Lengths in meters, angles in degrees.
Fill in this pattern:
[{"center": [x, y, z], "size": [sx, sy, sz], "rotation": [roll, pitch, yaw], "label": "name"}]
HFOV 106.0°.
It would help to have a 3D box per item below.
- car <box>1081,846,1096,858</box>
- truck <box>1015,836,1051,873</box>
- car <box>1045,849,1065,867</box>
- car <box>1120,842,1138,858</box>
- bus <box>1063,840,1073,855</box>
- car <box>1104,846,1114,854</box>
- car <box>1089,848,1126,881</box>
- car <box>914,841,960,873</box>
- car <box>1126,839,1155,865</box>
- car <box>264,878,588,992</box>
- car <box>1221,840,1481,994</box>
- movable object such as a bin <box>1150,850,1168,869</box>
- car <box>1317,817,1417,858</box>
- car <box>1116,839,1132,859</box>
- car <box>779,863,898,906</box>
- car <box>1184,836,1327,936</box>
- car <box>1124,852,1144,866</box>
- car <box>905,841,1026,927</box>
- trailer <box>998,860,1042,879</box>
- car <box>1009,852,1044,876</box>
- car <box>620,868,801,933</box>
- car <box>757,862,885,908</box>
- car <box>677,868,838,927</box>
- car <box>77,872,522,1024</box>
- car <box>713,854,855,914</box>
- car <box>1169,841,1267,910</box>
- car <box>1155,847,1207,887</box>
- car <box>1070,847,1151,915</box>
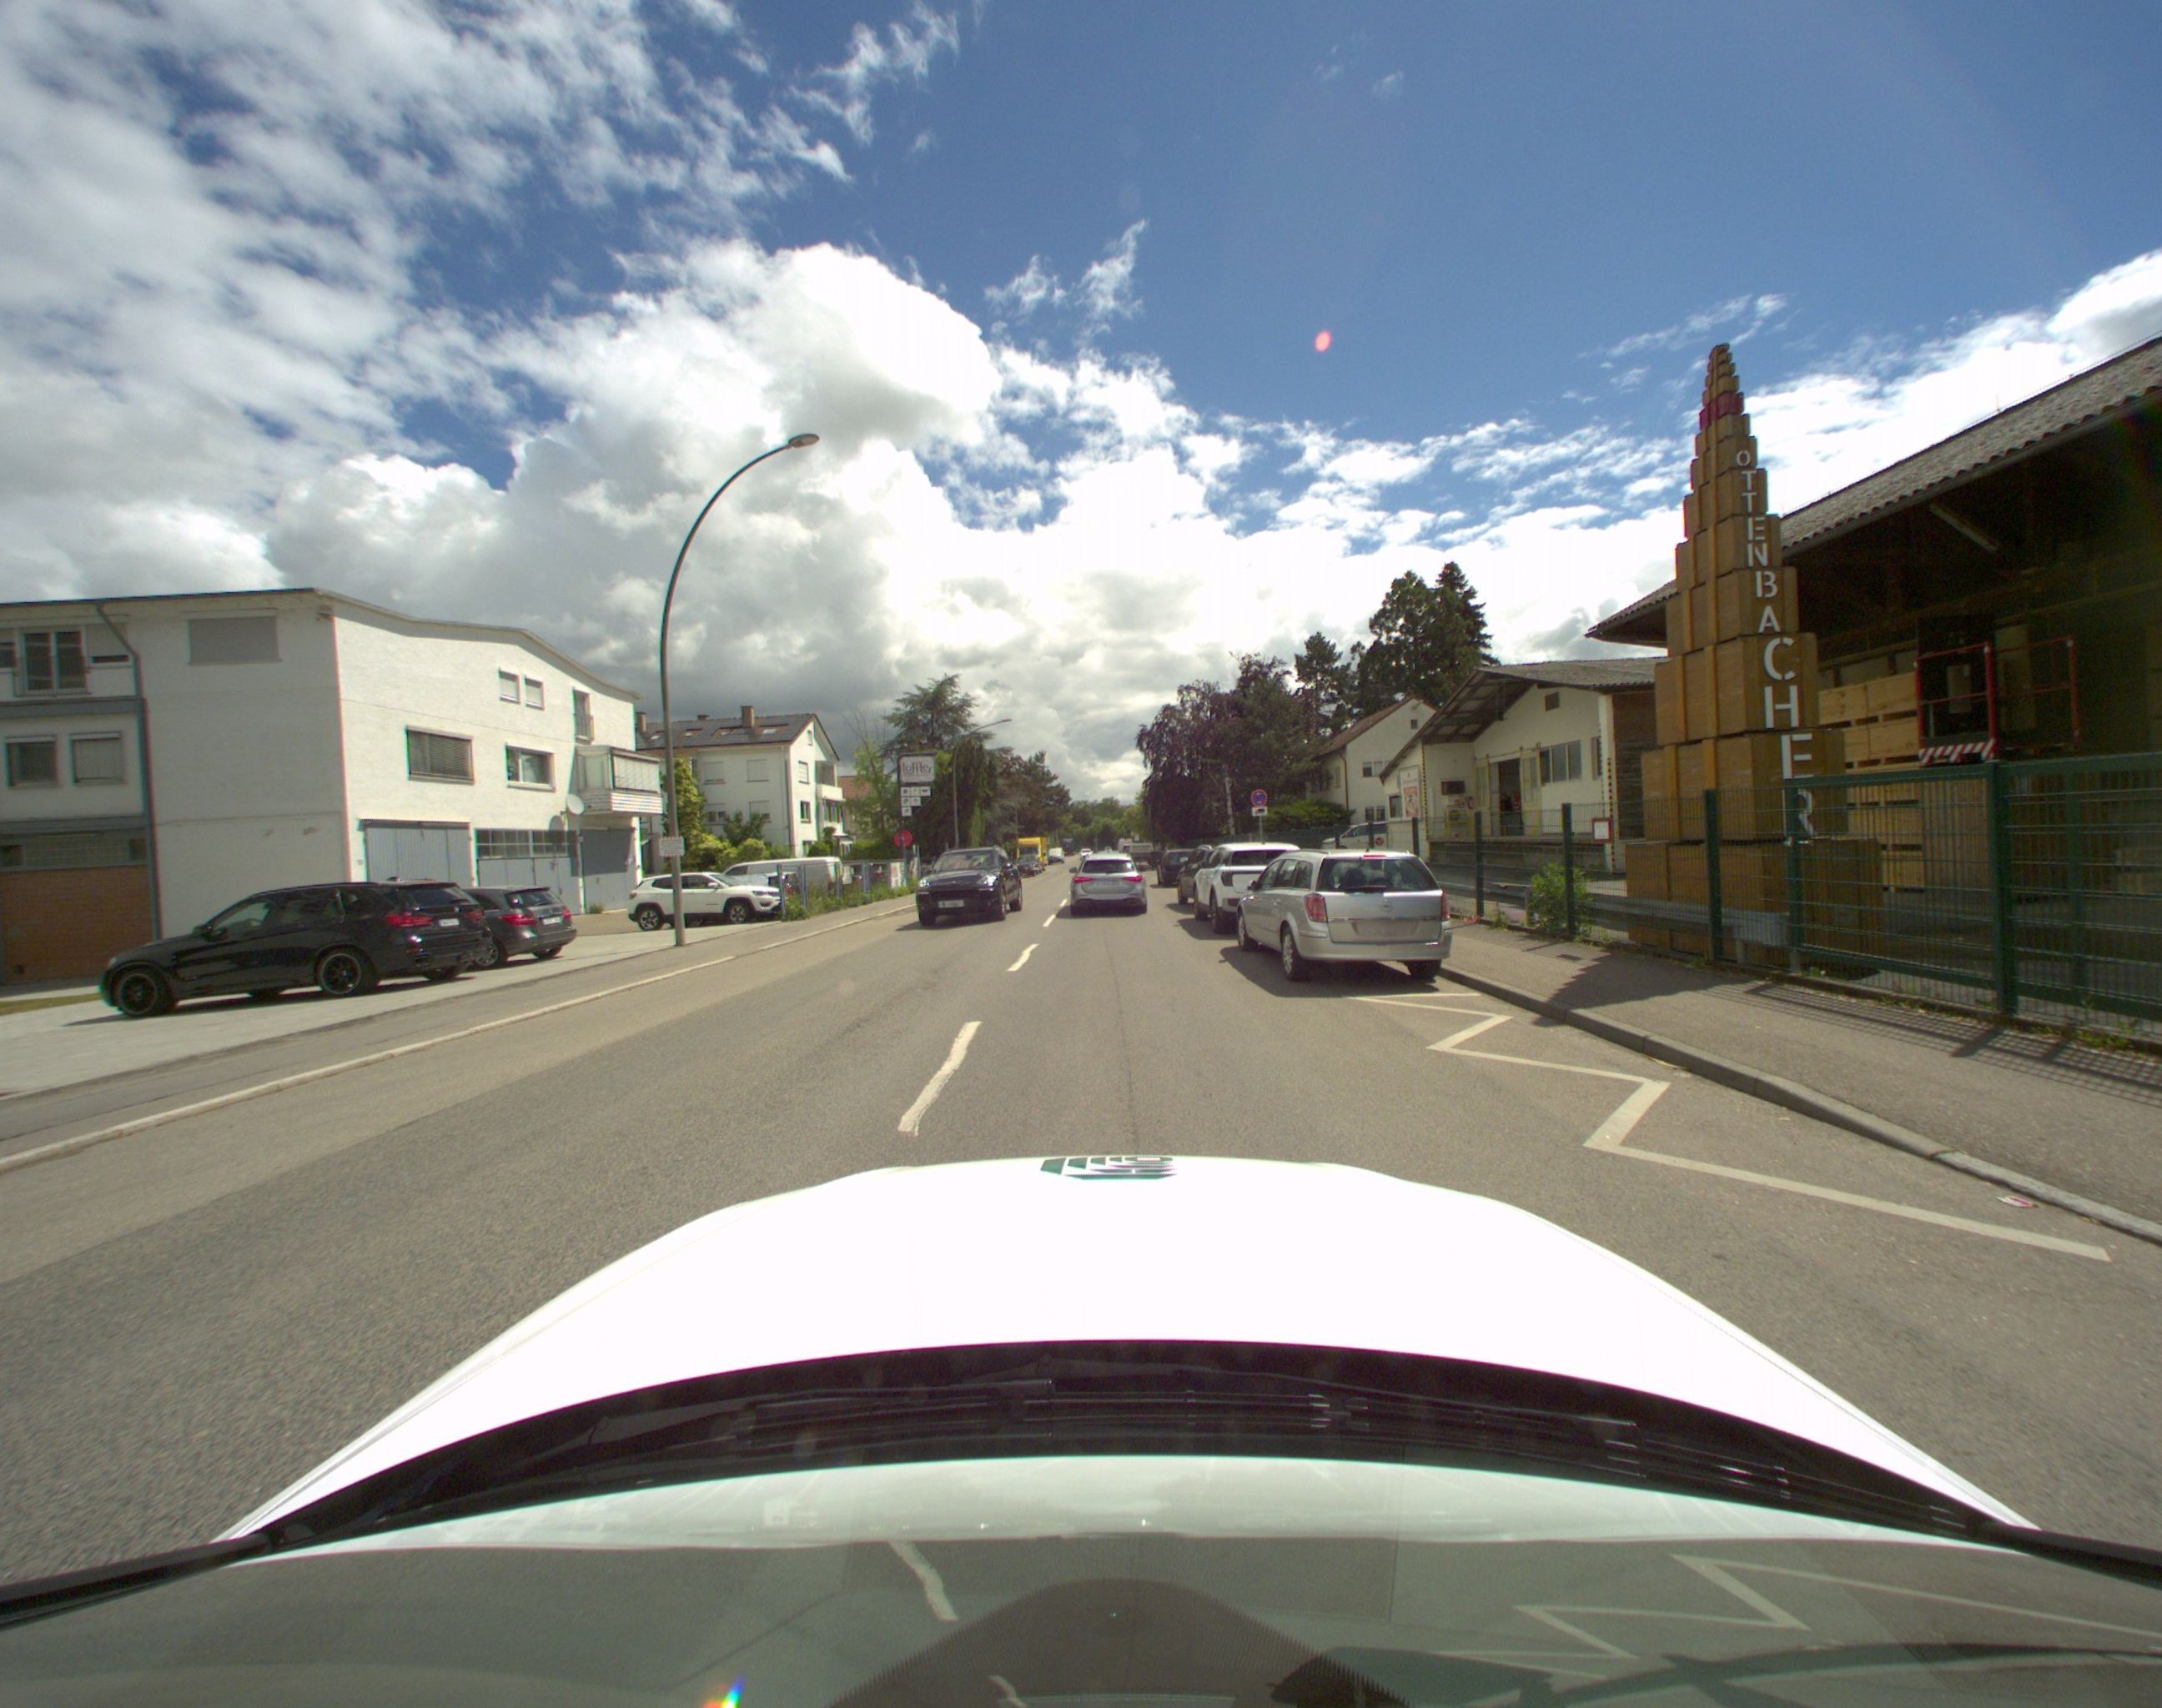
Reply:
[{"center": [1.090, -0.269, 112.097], "size": [1.927, 1.492, 4.365], "rotation": [-4, 0, 1], "label": "car"}, {"center": [-3.854, -0.008, 66.939], "size": [2.066, 2.814, 7.083], "rotation": [-4, 0, 3], "label": "truck"}, {"center": [-3.013, 0.397, 95.828], "size": [1.927, 1.918, 4.365], "rotation": [-4, 0, 1], "label": "car"}, {"center": [5.535, -0.415, 94.536], "size": [1.779, 1.715, 4.315], "rotation": [-2, 0, 0], "label": "car"}, {"center": [-3.119, -1.598, 193.771], "size": [1.989, 3.364, 6.973], "rotation": [-1, 0, -3], "label": "bus"}, {"center": [6.002, -0.860, 175.205], "size": [1.751, 1.558, 3.997], "rotation": [-3, 0, -2], "label": "car"}, {"center": [1.357, 0.529, 42.565], "size": [1.750, 1.558, 4.000], "rotation": [-3, 0, 0], "label": "car"}, {"center": [-8.349, 0.160, 47.461], "size": [1.989, 1.657, 3.997], "rotation": [-4, 1, -2], "label": "car"}, {"center": [5.009, -0.173, 69.163], "size": [2.136, 1.984, 5.264], "rotation": [-3, 0, 2], "label": "car"}, {"center": [-12.284, 1.476, 15.523], "size": [4.450, 1.505, 1.824], "rotation": [-6, 1, -2], "label": "car"}, {"center": [3.132, 0.622, 10.491], "size": [1.786, 1.450, 4.362], "rotation": [-4, 0, -1], "label": "car"}, {"center": [5.129, 0.351, 53.634], "size": [1.080, 1.271, 1.380], "rotation": [-1, 0, 2], "label": "movable object such as a bin"}, {"center": [16.500, -0.925, 47.180], "size": [4.994, 1.929, 2.003], "rotation": [-5, 0, 4], "label": "car"}, {"center": [5.625, -0.690, 106.755], "size": [1.779, 2.518, 4.315], "rotation": [-2, 0, 0], "label": "car"}, {"center": [-10.050, 1.275, 33.954], "size": [4.265, 1.485, 1.991], "rotation": [-3, -3, 0], "label": "car"}, {"center": [3.206, 0.510, 15.894], "size": [1.785, 1.552, 4.574], "rotation": [-4, 0, 1], "label": "car"}, {"center": [5.778, 0.573, 89.314], "size": [1.779, 1.484, 4.315], "rotation": [-2, 0, 0], "label": "car"}, {"center": [-2.652, 0.624, 19.878], "size": [1.985, 1.733, 4.552], "rotation": [-4, 0, 3], "label": "car"}, {"center": [-3.811, 0.962, 51.867], "size": [2.221, 0.925, 5.948], "rotation": [-2, 1, 0], "label": "trailer"}, {"center": [-3.857, 0.710, 58.640], "size": [2.068, 1.477, 4.457], "rotation": [-4, 0, 0], "label": "car"}, {"center": [-10.673, 1.337, 23.685], "size": [4.263, 1.567, 1.992], "rotation": [-3, -3, 1], "label": "car"}, {"center": [-10.026, 1.215, 31.639], "size": [4.265, 1.485, 1.991], "rotation": [-3, -3, 0], "label": "car"}, {"center": [-10.269, 1.382, 26.080], "size": [4.265, 1.567, 1.991], "rotation": [-3, -3, 0], "label": "car"}, {"center": [-11.989, 1.372, 12.835], "size": [4.615, 1.632, 2.196], "rotation": [-6, 1, -2], "label": "car"}, {"center": [-10.496, 1.078, 29.018], "size": [4.265, 1.836, 1.991], "rotation": [-3, -3, 0], "label": "car"}, {"center": [3.467, 0.508, 21.380], "size": [1.685, 1.552, 4.082], "rotation": [-3, 0, -2], "label": "car"}, {"center": [3.960, 0.477, 32.754], "size": [1.683, 1.450, 3.850], "rotation": [-3, 0, 2], "label": "car"}, {"center": [0.659, 0.623, 20.552], "size": [1.779, 1.484, 4.315], "rotation": [-2, 0, 0], "label": "car"}]
